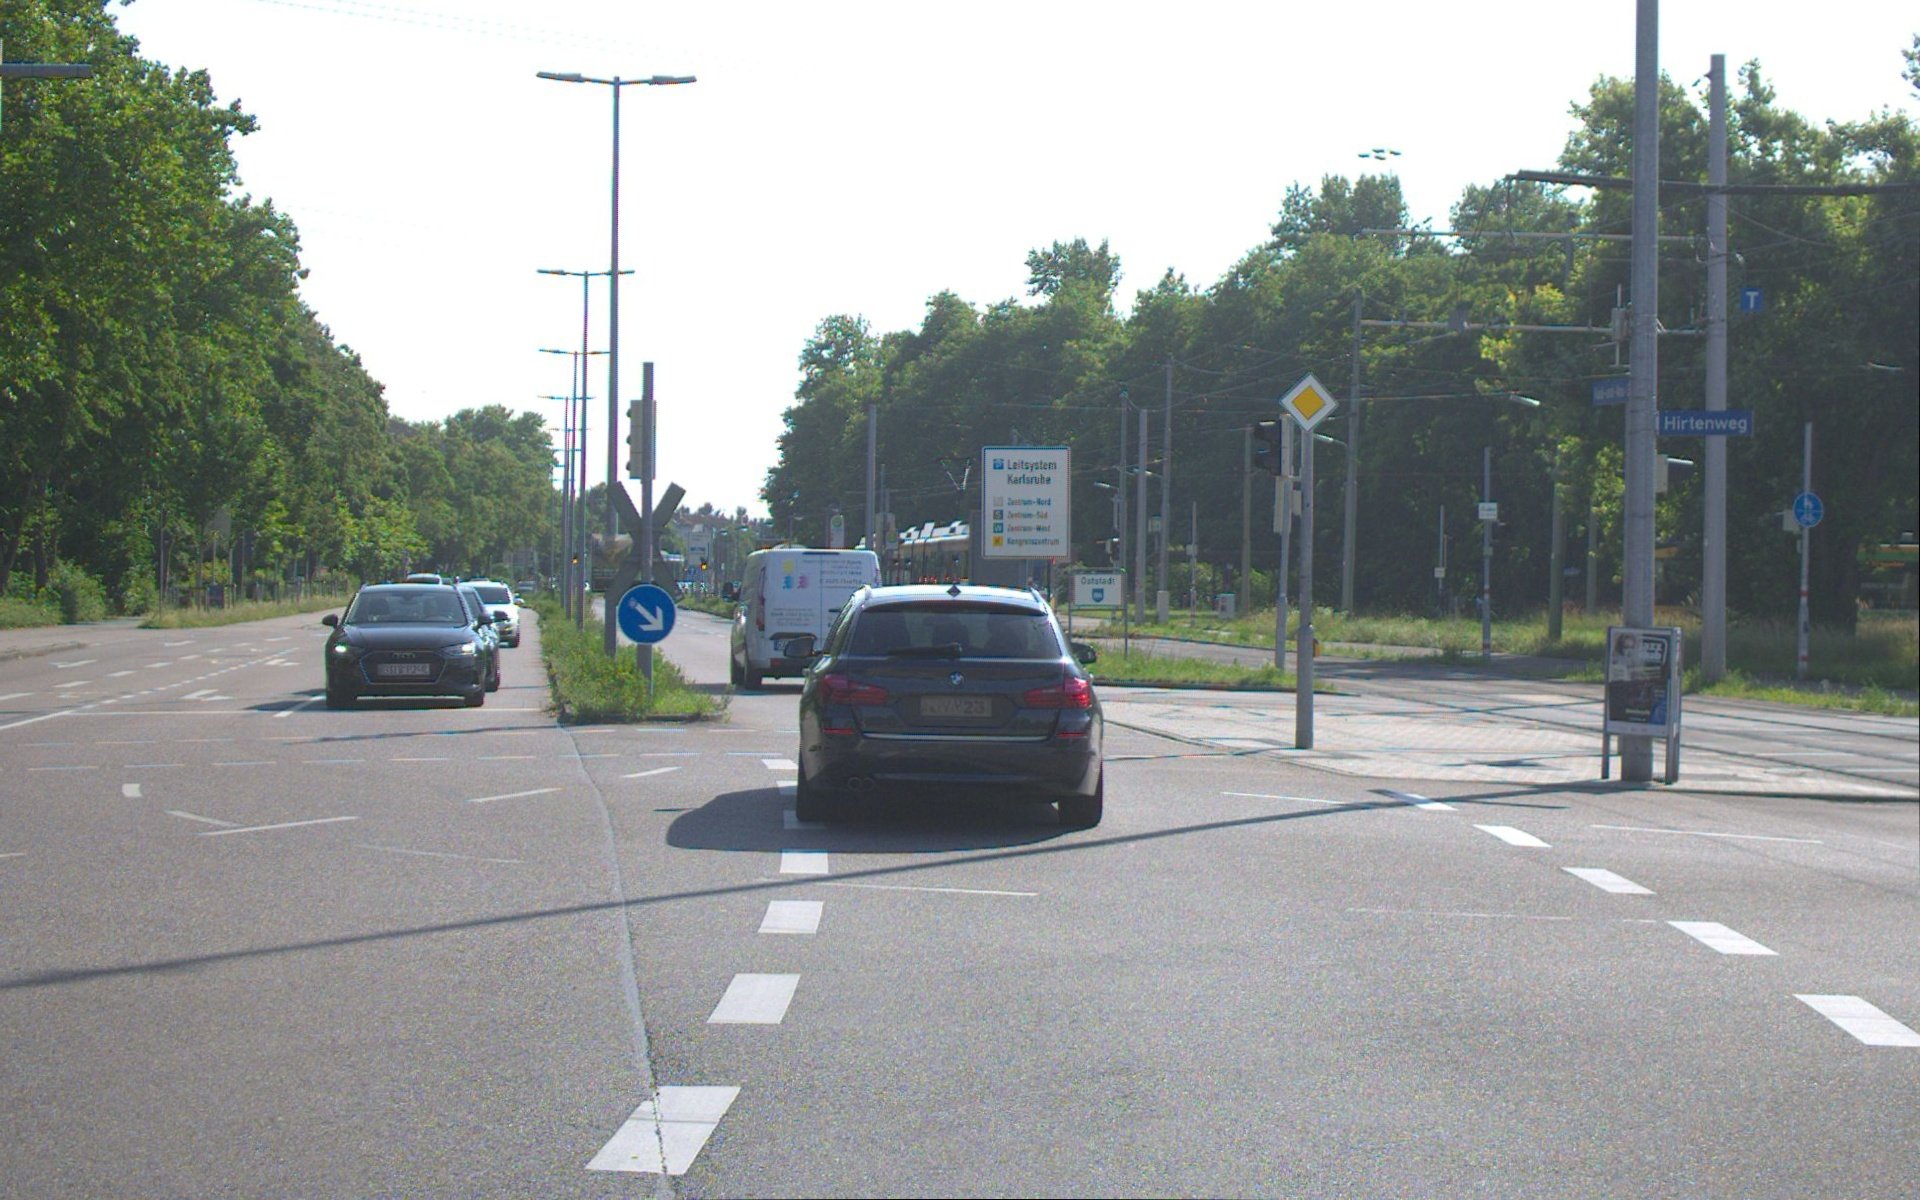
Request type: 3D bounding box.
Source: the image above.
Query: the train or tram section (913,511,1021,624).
[{"bbox_3d":[0.147,-1.002,115.805,2.749,3.542,11.258,2,0,-4],"label":"train or tram section"}]

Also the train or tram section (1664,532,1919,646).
[{"bbox_3d":[29.388,-0.354,111.625,12.414,3.567,3.050,1,0,23],"label":"train or tram section"}]

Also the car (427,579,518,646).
[{"bbox_3d":[-11.143,0.262,78.850,1.848,1.472,4.646,1,0,-6],"label":"car"}]

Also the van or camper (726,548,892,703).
[{"bbox_3d":[-2.219,0.338,49.338,1.993,2.089,4.599,1,0,-7],"label":"van or camper"}]

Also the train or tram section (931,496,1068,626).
[{"bbox_3d":[1.069,-1.073,103.759,2.796,3.606,12.957,2,0,-5],"label":"train or tram section"}]

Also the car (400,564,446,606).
[{"bbox_3d":[-23.304,-0.655,149.290,1.788,1.766,4.570,1,0,-7],"label":"car"}]

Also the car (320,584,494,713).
[{"bbox_3d":[-6.528,0.538,40.987,1.829,1.426,4.732,0,0,-6],"label":"car"}]

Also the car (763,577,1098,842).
[{"bbox_3d":[-0.224,0.621,21.801,1.903,1.500,4.065,1,0,-2],"label":"car"}]

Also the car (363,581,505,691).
[{"bbox_3d":[-7.213,0.467,47.454,1.828,1.430,4.382,0,0,-7],"label":"car"}]
